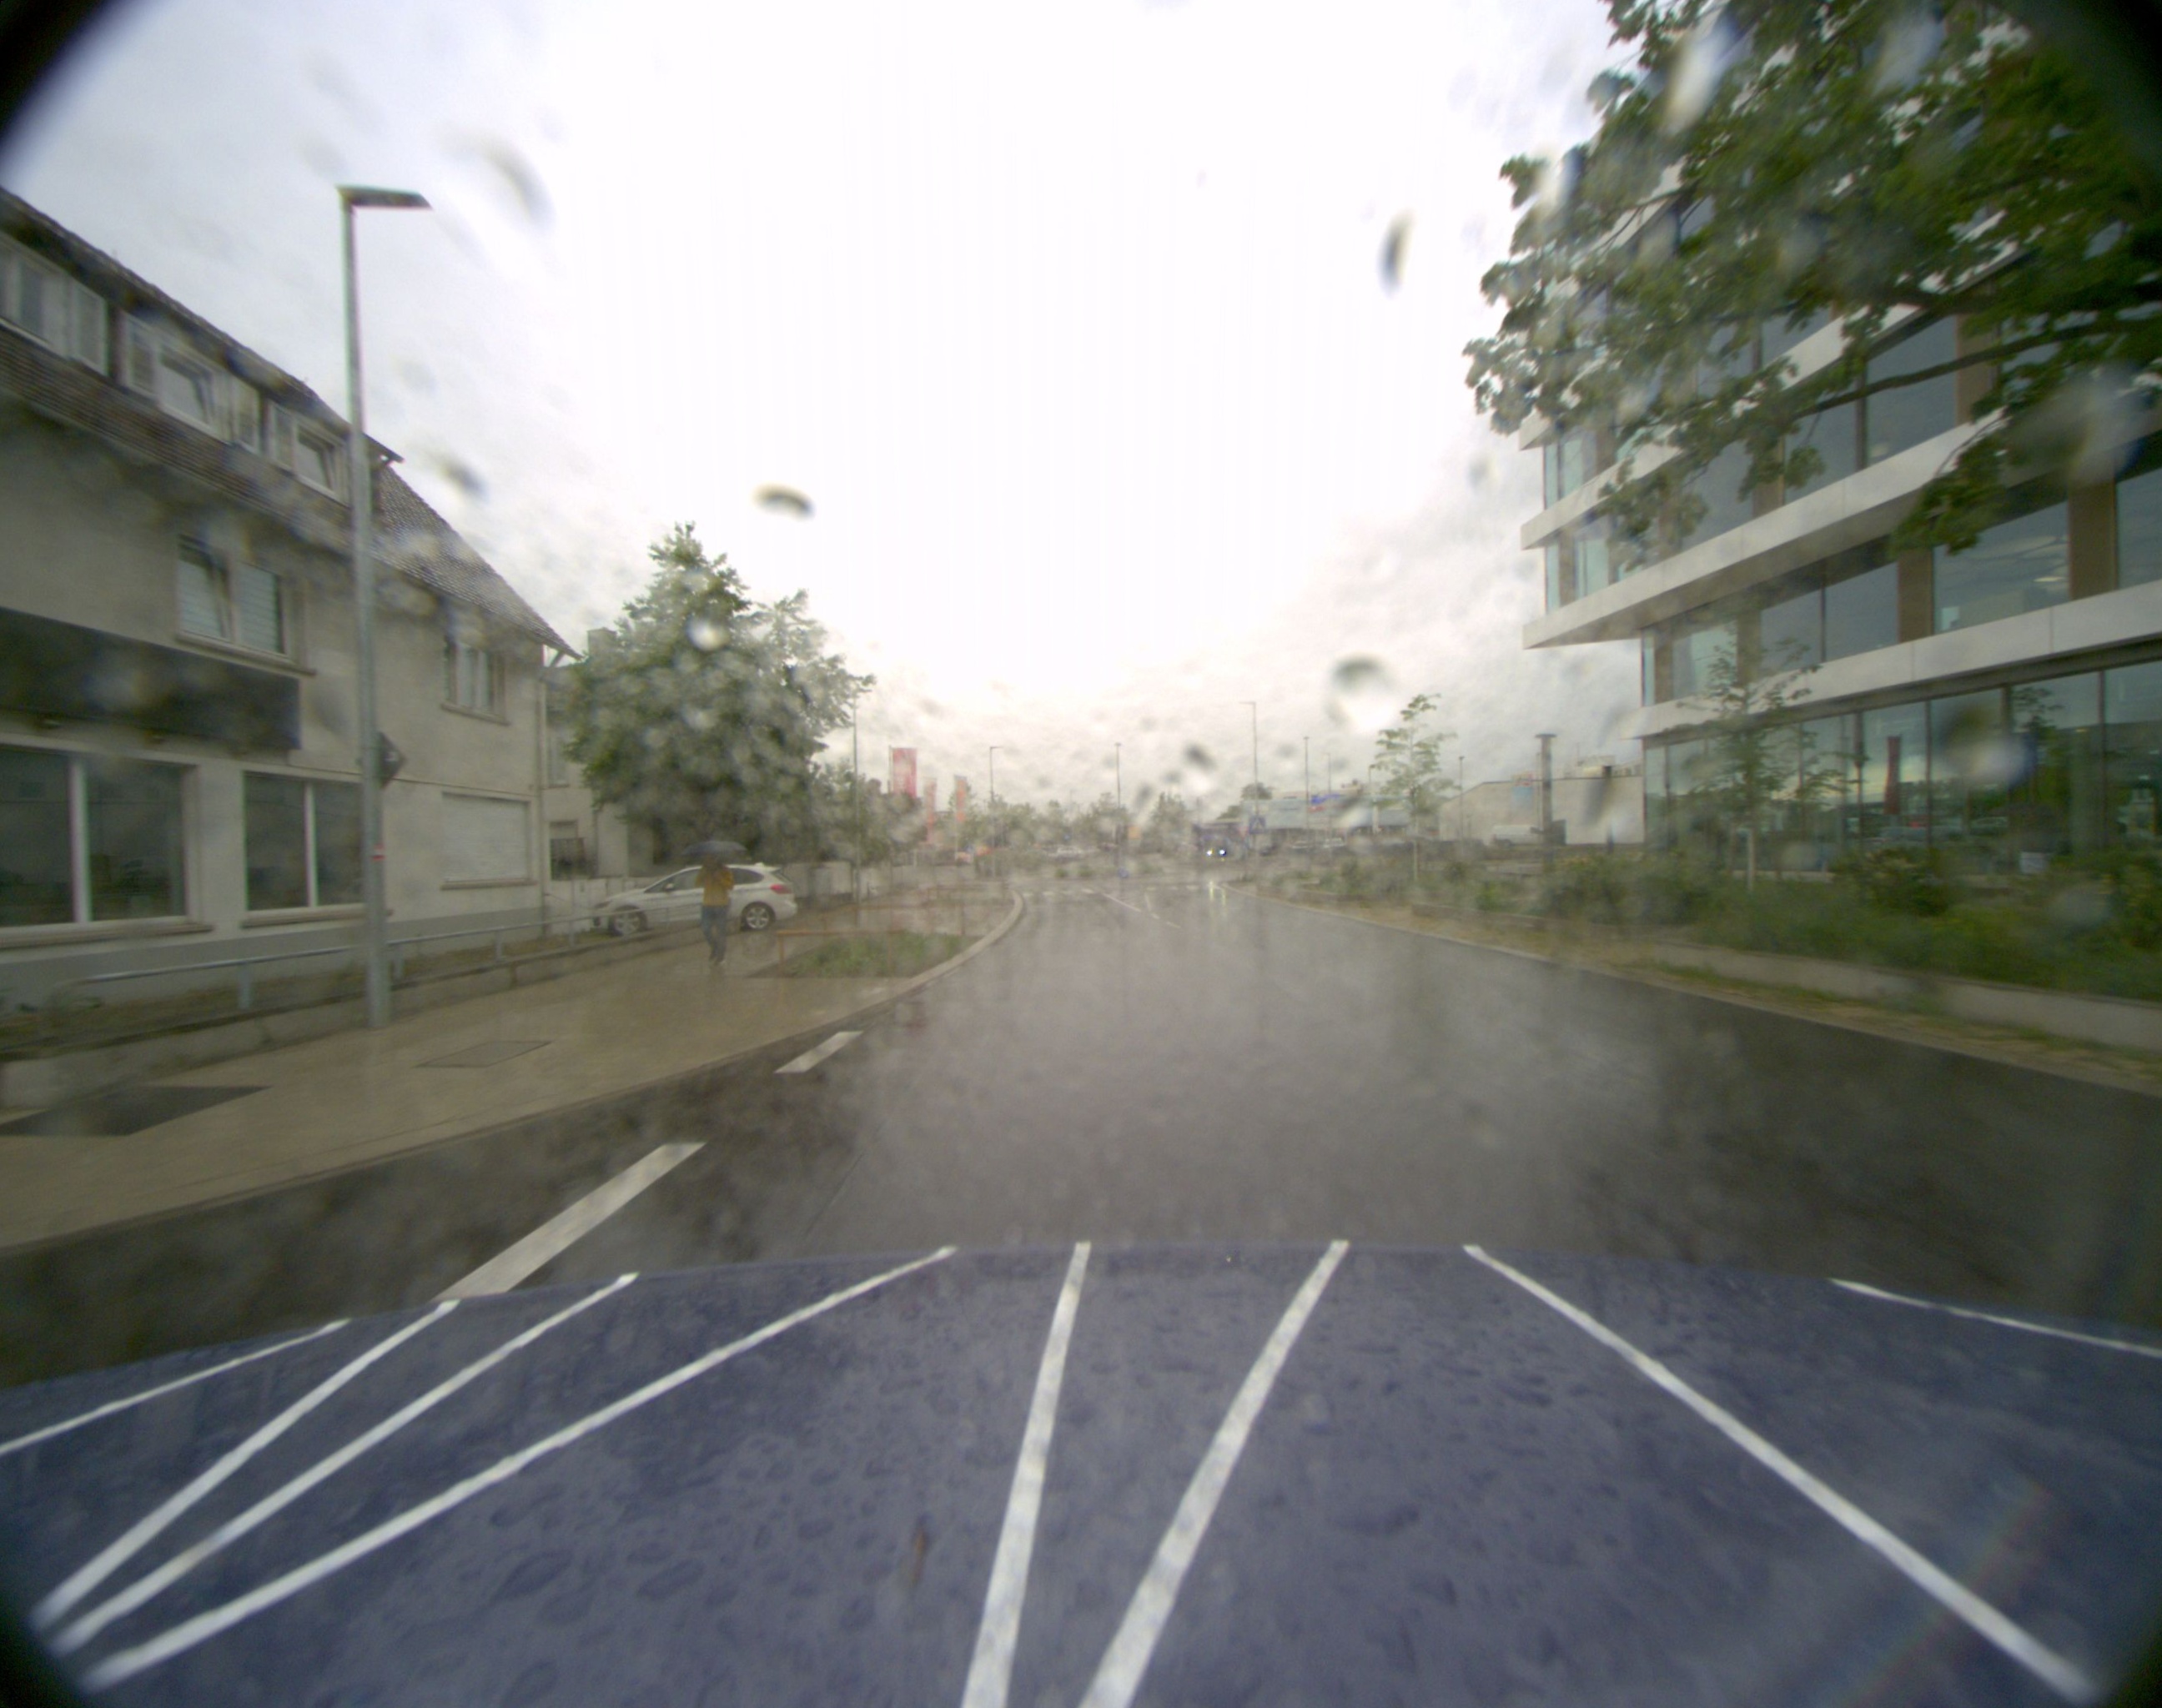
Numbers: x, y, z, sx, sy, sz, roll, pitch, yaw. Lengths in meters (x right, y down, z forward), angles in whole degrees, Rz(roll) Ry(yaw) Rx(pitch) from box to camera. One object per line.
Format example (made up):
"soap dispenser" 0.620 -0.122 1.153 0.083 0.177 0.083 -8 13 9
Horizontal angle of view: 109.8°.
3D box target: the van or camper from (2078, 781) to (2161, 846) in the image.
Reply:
"van or camper" 53.887 -2.083 37.666 5.091 3.070 2.002 -4 0 18

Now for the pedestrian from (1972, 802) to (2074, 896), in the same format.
"pedestrian" 18.280 -0.105 14.765 0.726 1.694 0.956 -5 2 0

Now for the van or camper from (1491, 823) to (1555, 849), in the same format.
"van or camper" 37.552 -1.522 64.687 4.373 1.751 1.890 -5 0 21

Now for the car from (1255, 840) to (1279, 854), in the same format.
"car" 20.155 -0.811 82.315 1.884 1.288 4.005 -5 0 21

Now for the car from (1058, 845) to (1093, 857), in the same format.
"car" -0.713 -0.356 96.419 3.991 1.433 2.003 -2 0 21

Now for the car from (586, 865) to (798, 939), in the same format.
"car" -8.911 1.052 17.825 4.145 1.571 1.997 0 0 -17

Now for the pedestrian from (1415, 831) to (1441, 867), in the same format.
"pedestrian" 19.766 -0.264 43.291 0.893 2.002 0.931 -3 1 -6

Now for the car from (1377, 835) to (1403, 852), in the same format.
"car" 27.065 -0.918 66.631 1.884 1.288 4.005 -5 0 21

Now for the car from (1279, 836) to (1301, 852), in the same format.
"car" 22.565 -1.111 81.924 1.884 1.477 4.005 -5 0 21

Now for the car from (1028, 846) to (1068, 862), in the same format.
"car" -3.748 -0.027 86.780 4.096 1.696 2.003 -2 0 25

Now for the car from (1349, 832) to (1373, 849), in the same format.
"car" 24.911 -1.193 67.467 1.884 1.288 4.005 -5 0 21

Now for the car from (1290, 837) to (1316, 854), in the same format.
"car" 20.137 -0.800 68.830 1.884 1.288 4.005 -5 0 21

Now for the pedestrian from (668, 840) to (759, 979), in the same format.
"pedestrian" -5.534 0.799 11.512 0.861 2.002 1.194 0 0 -5

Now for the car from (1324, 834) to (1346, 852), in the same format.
"car" 22.884 -1.000 68.462 1.791 1.543 4.005 -2 0 18

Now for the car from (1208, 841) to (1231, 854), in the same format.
"car" 17.294 -0.810 94.958 1.917 1.521 4.006 -4 0 23
